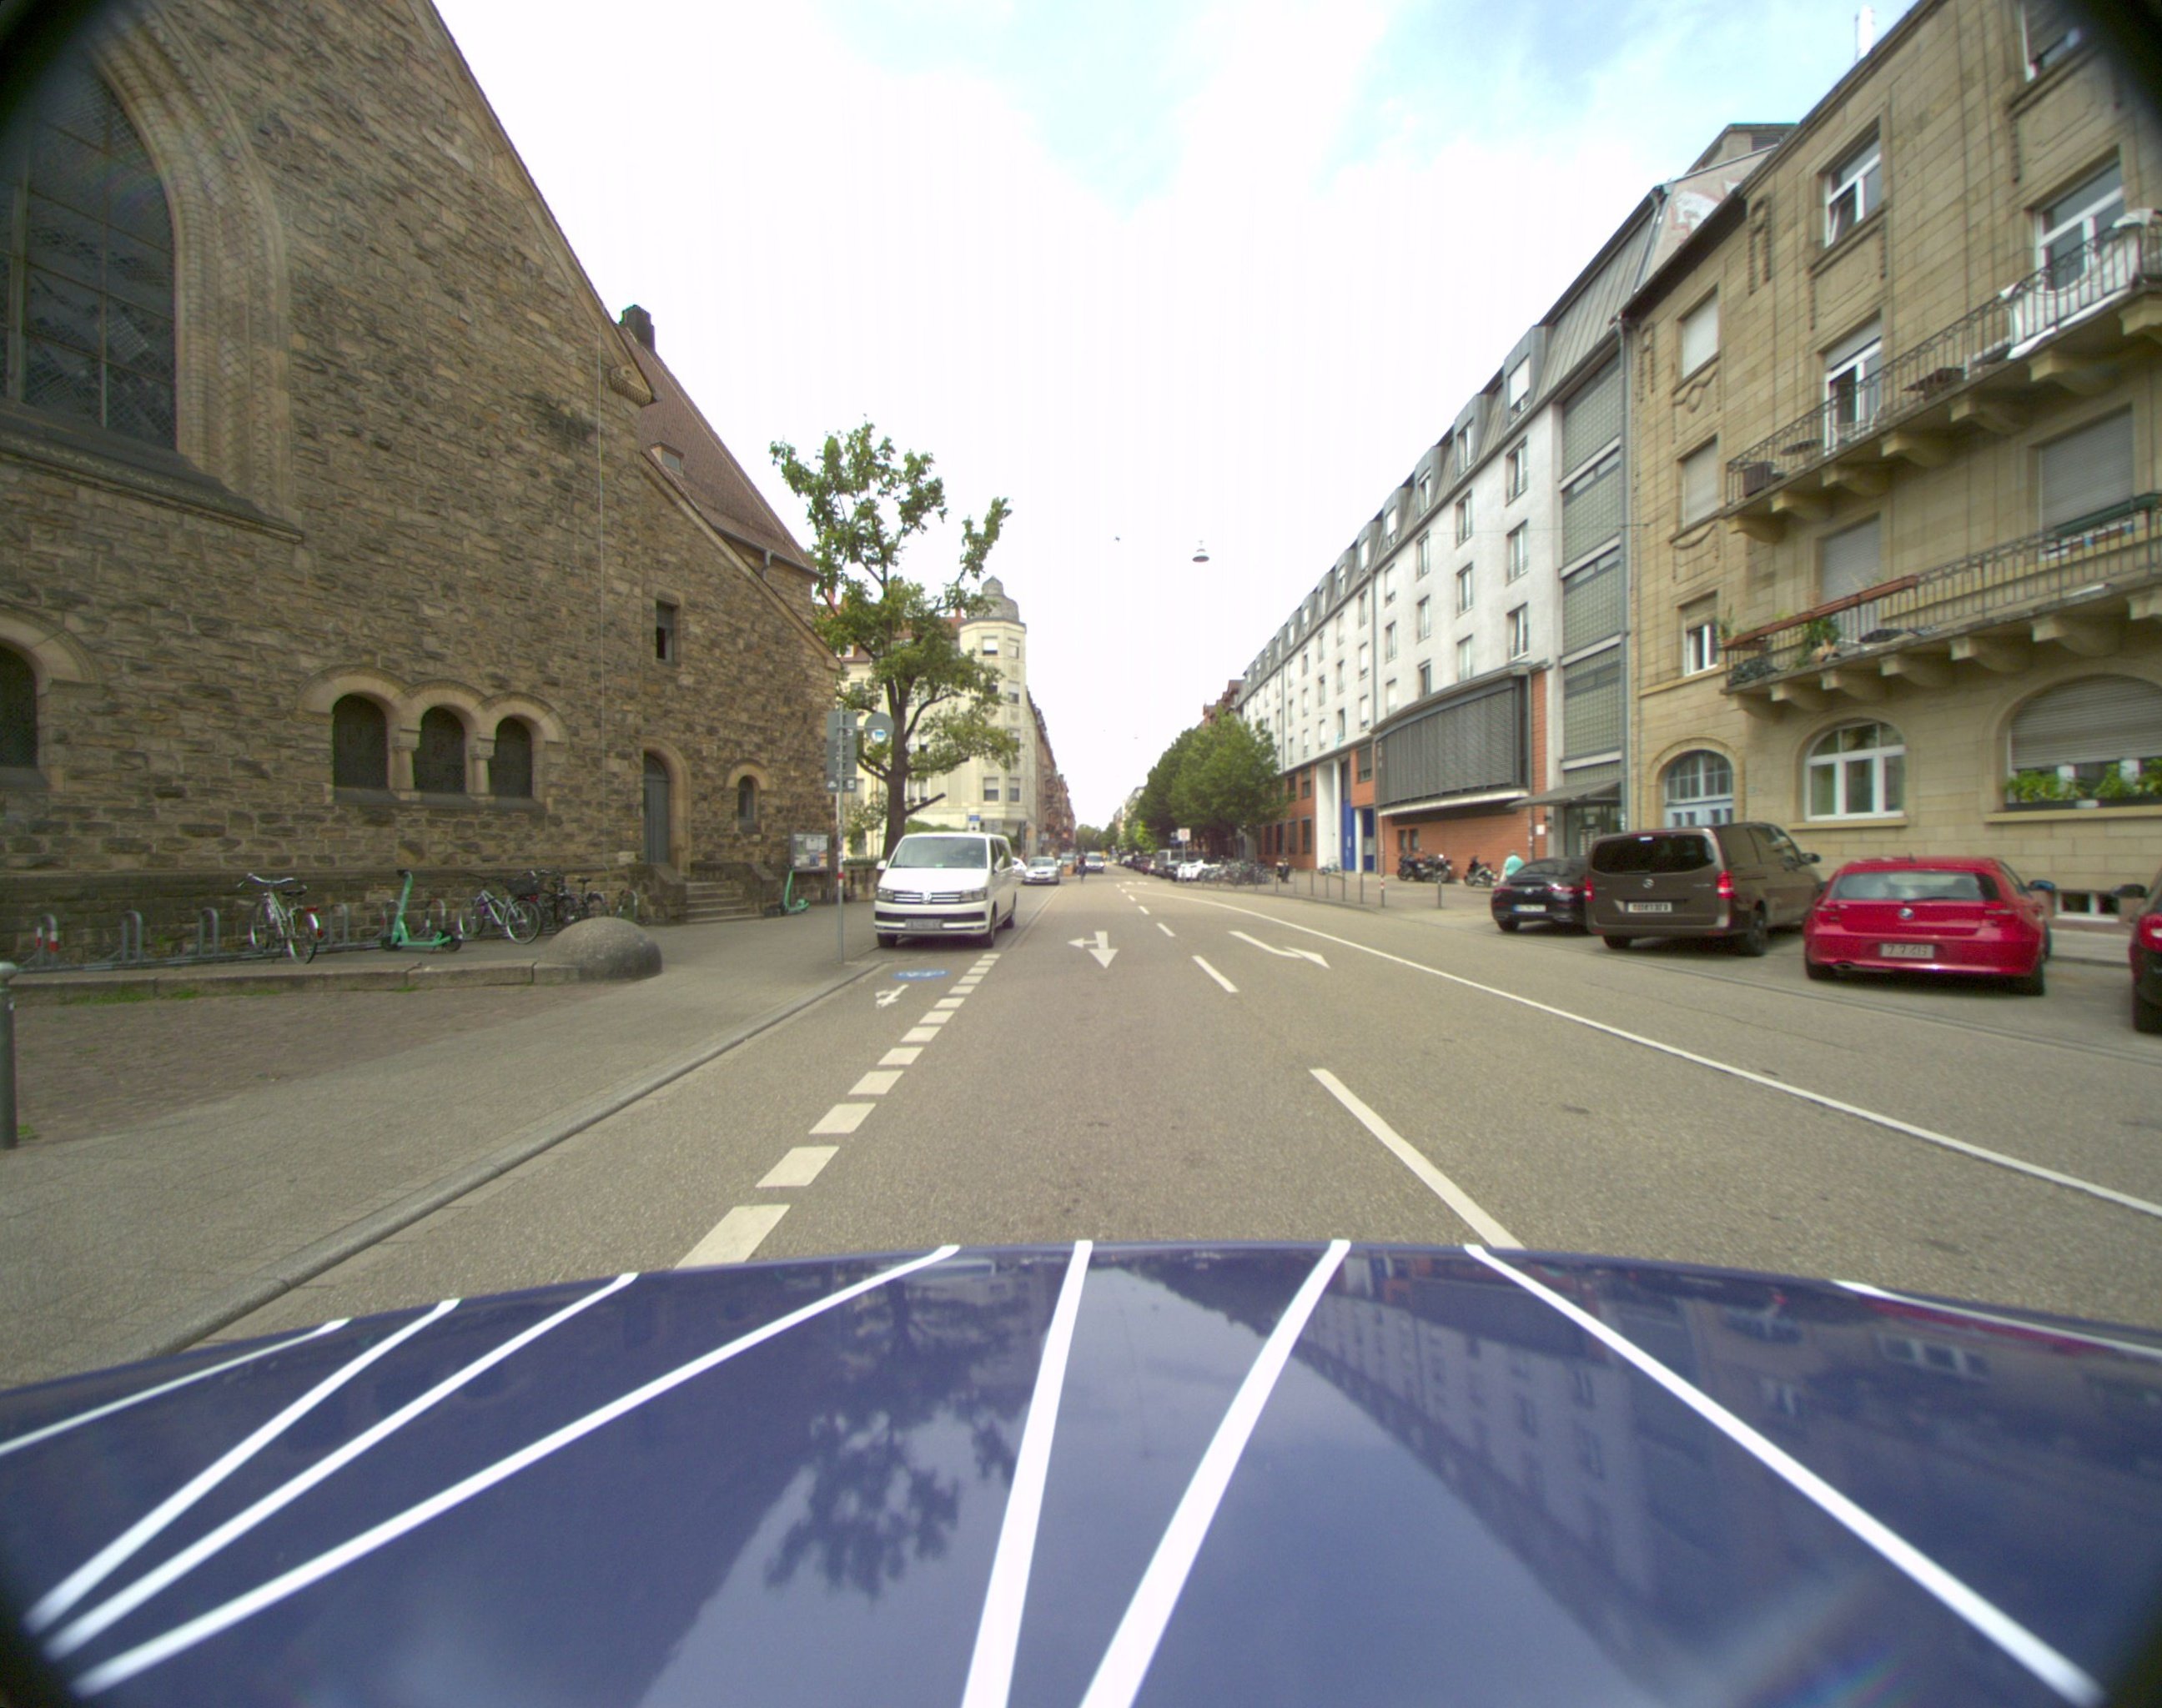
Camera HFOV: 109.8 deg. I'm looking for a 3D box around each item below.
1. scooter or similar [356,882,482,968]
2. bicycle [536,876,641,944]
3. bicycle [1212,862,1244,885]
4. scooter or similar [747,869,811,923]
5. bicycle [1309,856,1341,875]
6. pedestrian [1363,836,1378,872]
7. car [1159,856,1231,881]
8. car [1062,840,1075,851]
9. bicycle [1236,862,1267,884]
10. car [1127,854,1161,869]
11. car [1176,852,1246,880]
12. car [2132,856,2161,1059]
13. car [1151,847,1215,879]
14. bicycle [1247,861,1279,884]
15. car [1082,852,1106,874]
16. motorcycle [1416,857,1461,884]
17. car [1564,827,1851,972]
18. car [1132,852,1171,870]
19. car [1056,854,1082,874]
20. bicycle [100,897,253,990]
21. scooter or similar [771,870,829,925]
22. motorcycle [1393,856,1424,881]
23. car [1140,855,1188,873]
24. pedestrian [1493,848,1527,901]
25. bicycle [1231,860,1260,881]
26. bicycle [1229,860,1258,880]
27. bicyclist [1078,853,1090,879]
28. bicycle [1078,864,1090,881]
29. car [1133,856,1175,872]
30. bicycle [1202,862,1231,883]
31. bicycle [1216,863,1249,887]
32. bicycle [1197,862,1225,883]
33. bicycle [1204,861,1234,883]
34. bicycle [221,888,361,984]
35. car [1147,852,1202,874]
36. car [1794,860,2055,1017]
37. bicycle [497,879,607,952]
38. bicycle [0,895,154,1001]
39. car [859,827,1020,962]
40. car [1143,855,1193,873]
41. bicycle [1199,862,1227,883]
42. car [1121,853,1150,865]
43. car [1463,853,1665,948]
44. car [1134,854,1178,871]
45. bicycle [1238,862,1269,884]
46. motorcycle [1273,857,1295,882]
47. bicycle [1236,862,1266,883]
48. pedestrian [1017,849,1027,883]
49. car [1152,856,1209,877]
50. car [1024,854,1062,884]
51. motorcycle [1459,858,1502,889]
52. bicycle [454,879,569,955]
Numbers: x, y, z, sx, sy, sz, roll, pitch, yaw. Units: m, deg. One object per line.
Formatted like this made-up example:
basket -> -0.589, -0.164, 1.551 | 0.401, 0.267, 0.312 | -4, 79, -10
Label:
scooter or similar -> -9.405, 0.978, 10.790 | 1.778, 1.133, 0.547 | 0, 0, 20
bicycle -> -8.476, 0.939, 13.078 | 1.778, 1.105, 0.547 | 0, 0, 20
bicycle -> 7.118, 0.957, 36.760 | 1.409, 1.032, 0.402 | -3, 0, 3
scooter or similar -> -7.168, 0.980, 18.091 | 0.545, 1.200, 1.483 | 0, 0, 21
bicycle -> 14.157, 0.660, 44.108 | 1.613, 0.920, 0.932 | -6, -1, 13
pedestrian -> 16.283, -0.023, 42.751 | 0.729, 2.002, 0.783 | 0, 0, 20
car -> 7.088, 0.870, 46.947 | 4.324, 1.460, 1.713 | -1, 0, -33
car -> -1.762, -1.280, 111.931 | 1.854, 1.505, 4.006 | -1, -1, 0
bicycle -> 8.496, 0.941, 37.903 | 1.409, 1.020, 0.402 | -1, 0, 3
car -> 7.960, 0.929, 96.337 | 4.012, 1.846, 1.687 | -1, -1, -32
car -> 7.607, 0.700, 44.469 | 4.013, 1.536, 1.598 | -1, 0, -33
car -> 10.221, 0.779, 6.308 | 4.004, 1.494, 1.627 | -1, 0, -34
car -> 7.086, 0.621, 52.554 | 4.011, 1.986, 1.857 | -3, 1, -30
bicycle -> 8.655, 0.872, 36.120 | 1.409, 1.020, 0.402 | -1, 0, 3
car -> 1.230, 0.810, 70.601 | 1.942, 1.913, 4.008 | -1, -1, 5
motorcycle -> 14.446, 0.644, 30.787 | 0.585, 1.042, 1.965 | -2, 0, -10
car -> 10.225, 0.574, 12.269 | 5.280, 1.899, 2.116 | -1, 0, -33
car -> 7.761, 0.760, 83.214 | 4.052, 1.846, 1.687 | -1, -1, -32
car -> -1.058, 0.906, 67.904 | 1.853, 1.661, 4.008 | -1, -1, 5
bicycle -> -10.508, 1.005, 8.820 | 1.778, 0.951, 0.547 | 0, 0, 20
scooter or similar -> -6.558, 0.995, 17.786 | 0.545, 1.200, 1.444 | 0, 0, 14
motorcycle -> 14.291, 0.617, 33.207 | 0.585, 1.042, 1.657 | -2, 0, -1
car -> 7.222, 0.878, 66.076 | 4.012, 1.445, 1.687 | -1, -1, -32
pedestrian -> 12.045, 0.574, 21.345 | 0.662, 1.477, 0.509 | -1, 0, -1
bicycle -> 8.489, 0.855, 39.206 | 1.409, 1.020, 0.402 | -1, 0, 3
bicycle -> 8.494, 0.837, 39.691 | 1.409, 1.020, 0.402 | -1, 0, 3
bicyclist -> 0.174, 0.670, 43.127 | 0.649, 1.408, 1.094 | -1, 0, 2
bicycle -> 0.176, 1.040, 42.989 | 0.586, 0.927, 1.783 | -1, -1, 2
car -> 7.424, 1.028, 76.891 | 4.012, 1.558, 1.687 | -1, -1, -32
bicycle -> 7.030, 0.948, 39.405 | 1.409, 1.020, 0.402 | -3, 0, 3
bicycle -> 7.148, 0.977, 35.867 | 1.409, 1.032, 0.402 | -3, 0, 3
bicycle -> 7.078, 1.012, 41.486 | 1.409, 1.020, 0.402 | -3, 0, 3
bicycle -> 7.024, 0.925, 38.763 | 1.409, 1.032, 0.402 | -3, 0, 3
bicycle -> -10.057, 1.009, 9.668 | 1.778, 1.105, 0.547 | 0, 0, 20
car -> 7.181, 0.673, 58.256 | 4.012, 1.605, 1.708 | -1, -1, -32
car -> 10.095, 0.804, 9.015 | 4.020, 1.401, 1.792 | -1, 0, -38
bicycle -> -8.684, 0.982, 12.462 | 1.771, 1.105, 0.547 | 0, 0, 20
bicycle -> -10.813, 0.971, 8.140 | 1.778, 0.952, 0.547 | 2, 1, 20
car -> -2.339, 0.600, 14.019 | 2.019, 2.017, 5.123 | 1, 0, 0
car -> 7.342, 0.851, 63.885 | 4.012, 1.381, 1.592 | -1, -1, -32
bicycle -> 7.061, 0.984, 40.678 | 1.409, 1.020, 0.402 | -3, 0, 3
car -> 8.197, 0.726, 114.447 | 4.012, 1.746, 1.687 | -1, -1, -32
car -> 9.763, 0.837, 15.210 | 4.679, 1.401, 1.895 | -4, 0, -38
car -> 7.348, 0.799, 74.156 | 4.012, 1.558, 1.687 | -1, -1, -32
bicycle -> 8.466, 0.943, 37.367 | 1.409, 1.020, 0.402 | -1, 0, 3
motorcycle -> 9.778, 0.747, 36.630 | 0.585, 1.166, 1.780 | -2, 0, 3
bicycle -> 8.568, 0.955, 38.388 | 1.409, 1.020, 0.402 | -1, 0, 3
pedestrian -> -3.079, 0.625, 39.615 | 0.468, 1.725, 0.410 | 0, 0, 0
car -> 7.265, 0.874, 55.607 | 4.012, 1.438, 1.621 | -1, -1, -32
car -> -1.925, 0.756, 39.690 | 1.759, 1.460, 4.418 | 0, 0, 0
motorcycle -> 14.207, 0.683, 27.087 | 0.585, 1.042, 1.794 | -2, 0, 2
bicycle -> -8.916, 0.962, 11.888 | 1.778, 1.105, 0.547 | 0, 0, 20
